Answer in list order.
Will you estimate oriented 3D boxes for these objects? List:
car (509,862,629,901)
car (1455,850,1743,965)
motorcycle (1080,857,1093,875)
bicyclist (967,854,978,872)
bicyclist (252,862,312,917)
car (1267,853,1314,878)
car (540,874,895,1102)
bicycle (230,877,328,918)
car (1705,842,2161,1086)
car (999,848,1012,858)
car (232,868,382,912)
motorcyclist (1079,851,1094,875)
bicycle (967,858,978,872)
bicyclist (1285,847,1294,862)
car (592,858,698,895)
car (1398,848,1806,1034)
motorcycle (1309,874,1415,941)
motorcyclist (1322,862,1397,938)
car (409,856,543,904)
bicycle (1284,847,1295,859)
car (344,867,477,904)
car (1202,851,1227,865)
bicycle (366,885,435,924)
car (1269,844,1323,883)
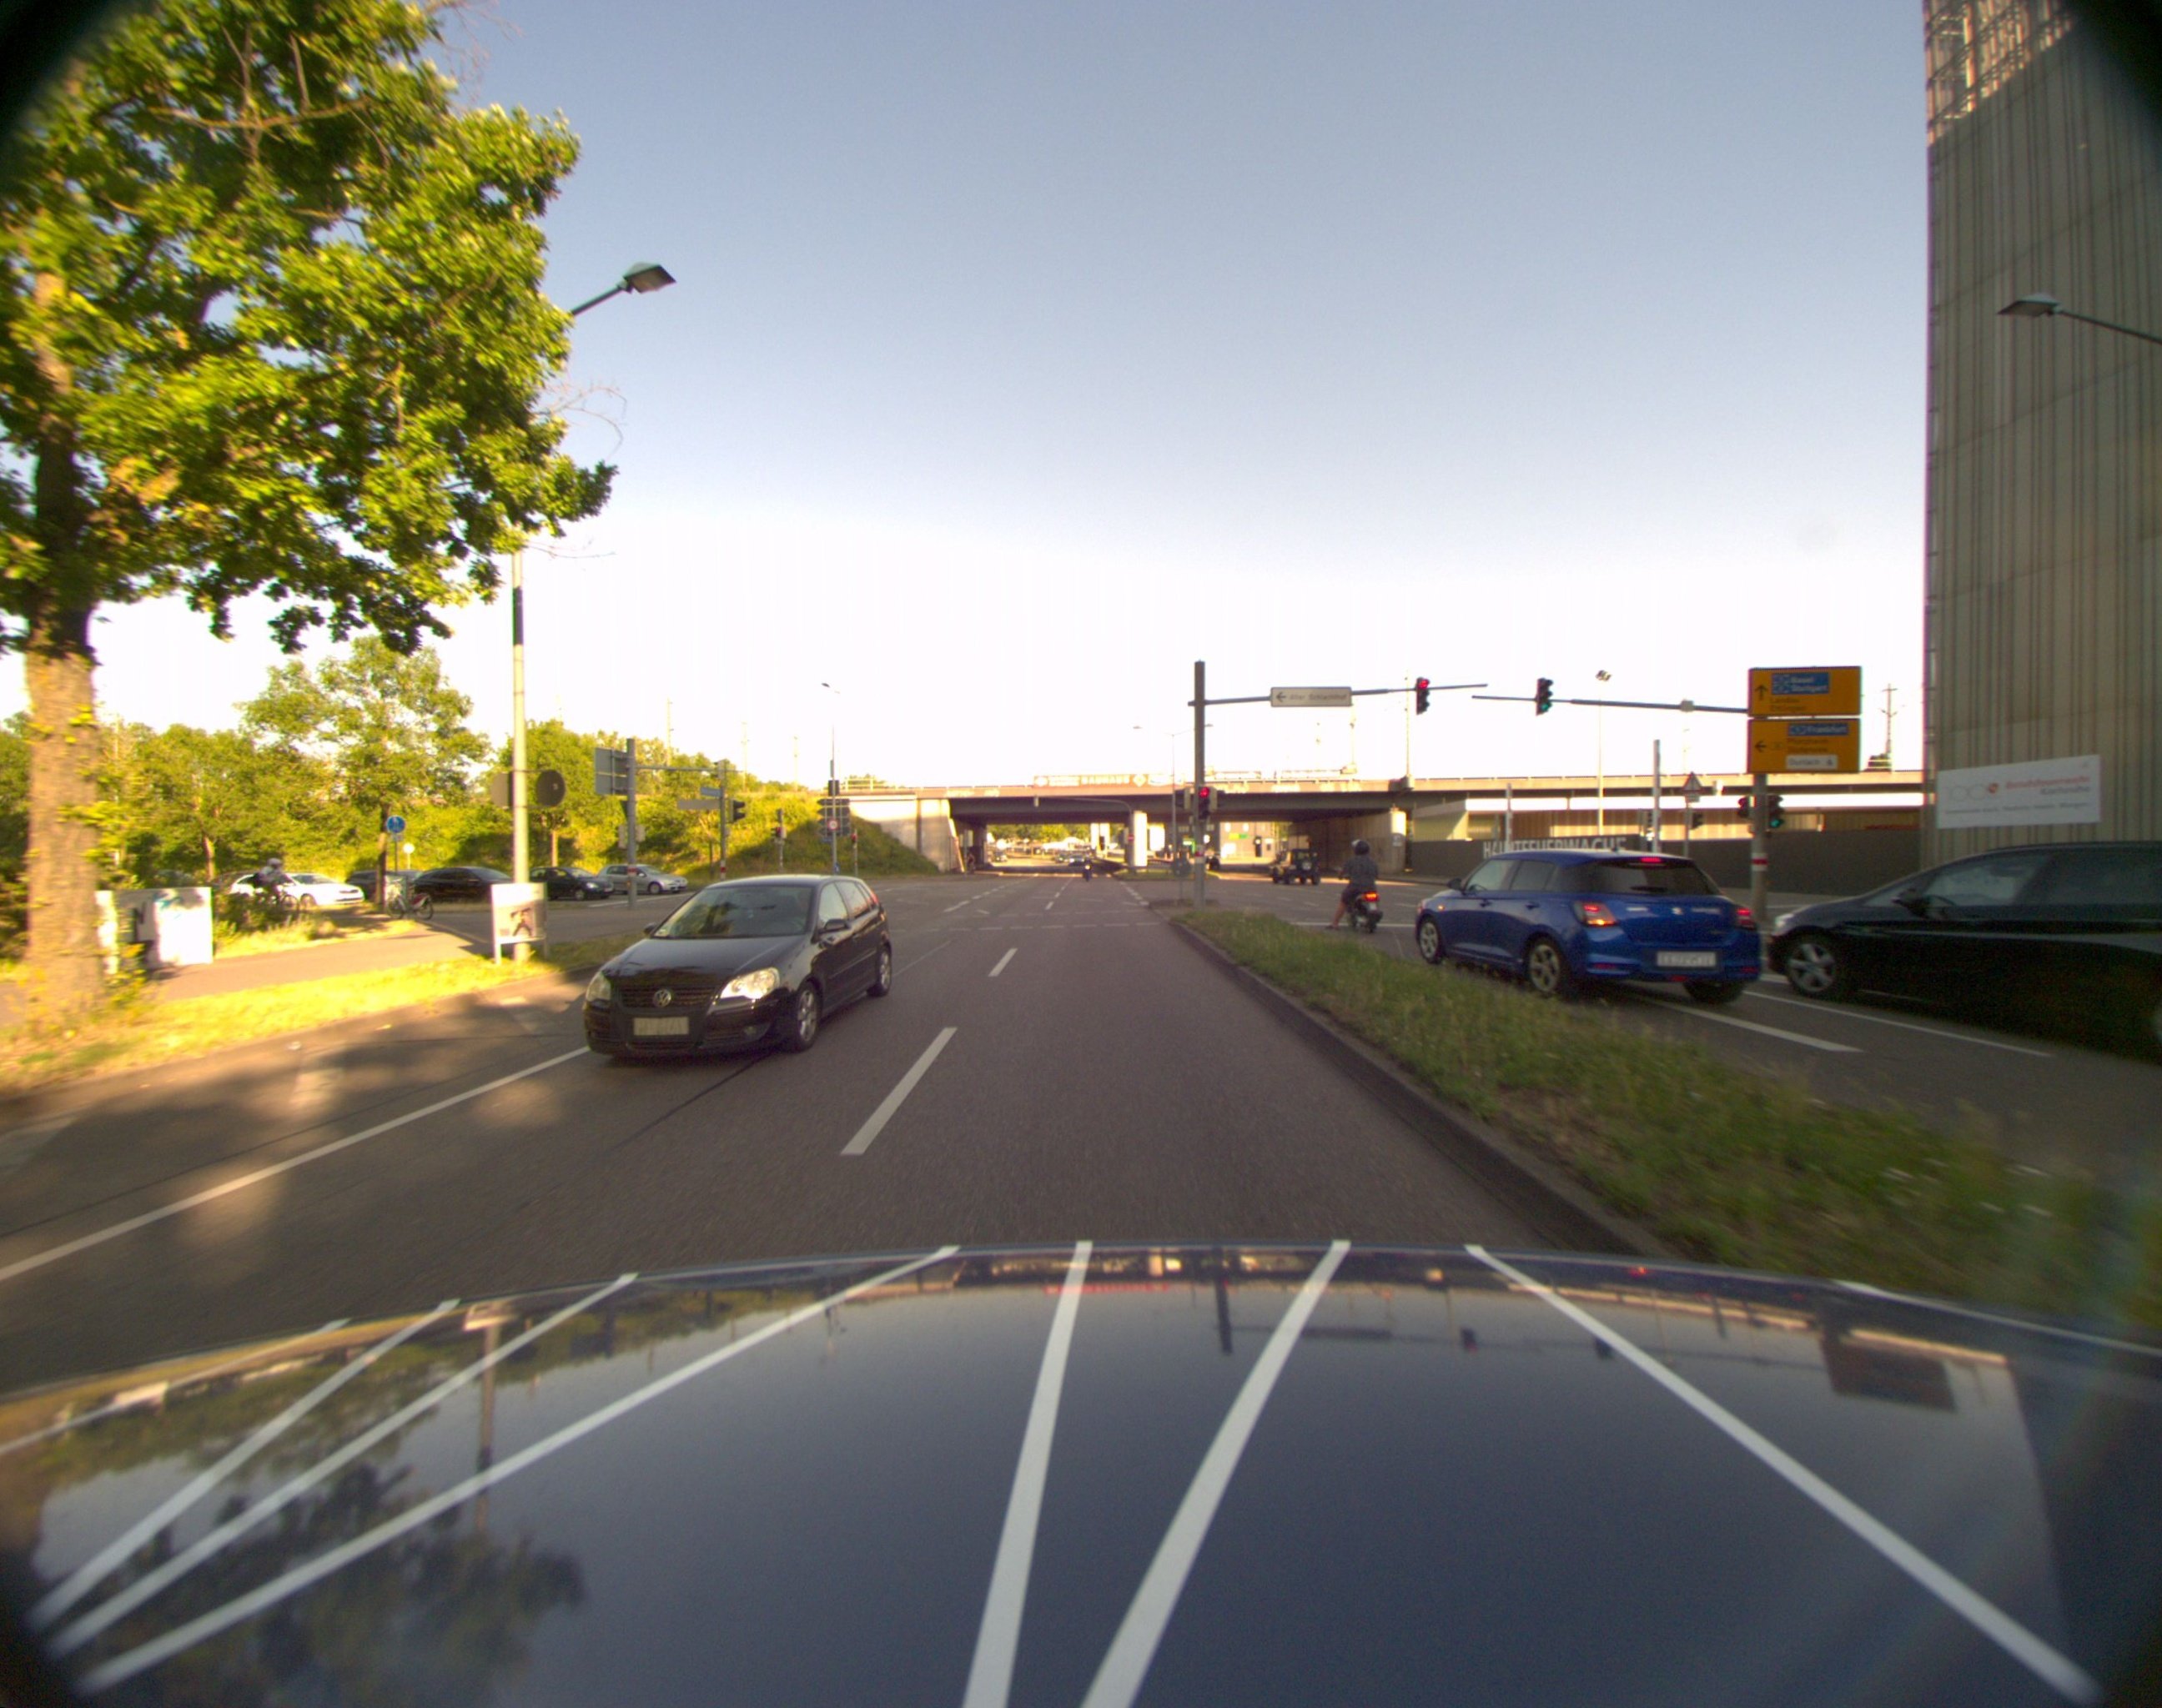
[{"bbox_3d":[-22.677,1.202,33.733,3.995,1.521,2.000,-2,1,7],"label":"car"},{"bbox_3d":[8.303,0.744,12.737,1.999,1.467,4.079,-3,1,-1],"label":"car"},{"bbox_3d":[0.356,0.770,48.201,0.811,1.040,2.353,-2,1,1],"label":"motorcycle"},{"bbox_3d":[-9.193,0.764,64.356,0.843,1.413,1.113,-2,2,-8],"label":"bicyclist"},{"bbox_3d":[-24.101,1.059,22.942,0.859,1.585,0.793,-2,2,0],"label":"bicyclist"},{"bbox_3d":[15.132,0.786,55.135,1.999,1.583,4.713,3,1,-1],"label":"car"},{"bbox_3d":[-3.054,1.014,7.301,1.621,1.402,3.682,-2,1,-1],"label":"car"},{"bbox_3d":[-24.186,1.315,22.952,2.018,1.106,0.821,-2,2,0],"label":"bicycle"},{"bbox_3d":[8.144,0.758,6.270,1.999,1.583,4.713,3,1,-1],"label":"car"},{"bbox_3d":[-12.347,-0.214,124.632,1.878,1.431,3.679,-2,1,-8],"label":"car"},{"bbox_3d":[-31.912,1.450,31.420,4.336,1.559,2.041,-2,1,7],"label":"car"},{"bbox_3d":[0.349,0.574,47.993,0.839,1.434,0.878,-2,2,1],"label":"motorcyclist"},{"bbox_3d":[-9.175,0.934,64.376,0.783,1.051,2.494,-2,1,-7],"label":"bicycle"},{"bbox_3d":[22.073,0.035,80.608,0.725,1.555,0.939,-2,2,5],"label":"bicyclist"},{"bbox_3d":[-20.958,1.072,36.634,3.996,1.521,1.891,-2,1,2],"label":"car"},{"bbox_3d":[5.190,0.721,8.327,1.706,1.444,3.856,3,1,-1],"label":"car"},{"bbox_3d":[5.140,0.942,14.125,0.842,1.069,2.399,1,0,-6],"label":"motorcycle"},{"bbox_3d":[5.146,0.830,14.114,0.799,1.341,1.274,1,-1,-6],"label":"motorcyclist"},{"bbox_3d":[-24.346,1.029,30.663,3.995,1.684,1.863,-2,2,7],"label":"car"},{"bbox_3d":[22.079,-0.101,80.471,0.706,1.149,2.082,-2,0,5],"label":"bicycle"},{"bbox_3d":[-30.167,1.386,34.257,4.336,1.399,2.041,-2,1,7],"label":"car"},{"bbox_3d":[14.874,0.423,84.830,1.999,1.393,4.347,3,1,-1],"label":"car"},{"bbox_3d":[-18.112,1.325,20.228,1.664,0.985,0.579,0,-1,17],"label":"bicycle"},{"bbox_3d":[11.924,0.521,42.365,1.799,1.967,3.994,3,0,-1],"label":"car"}]
